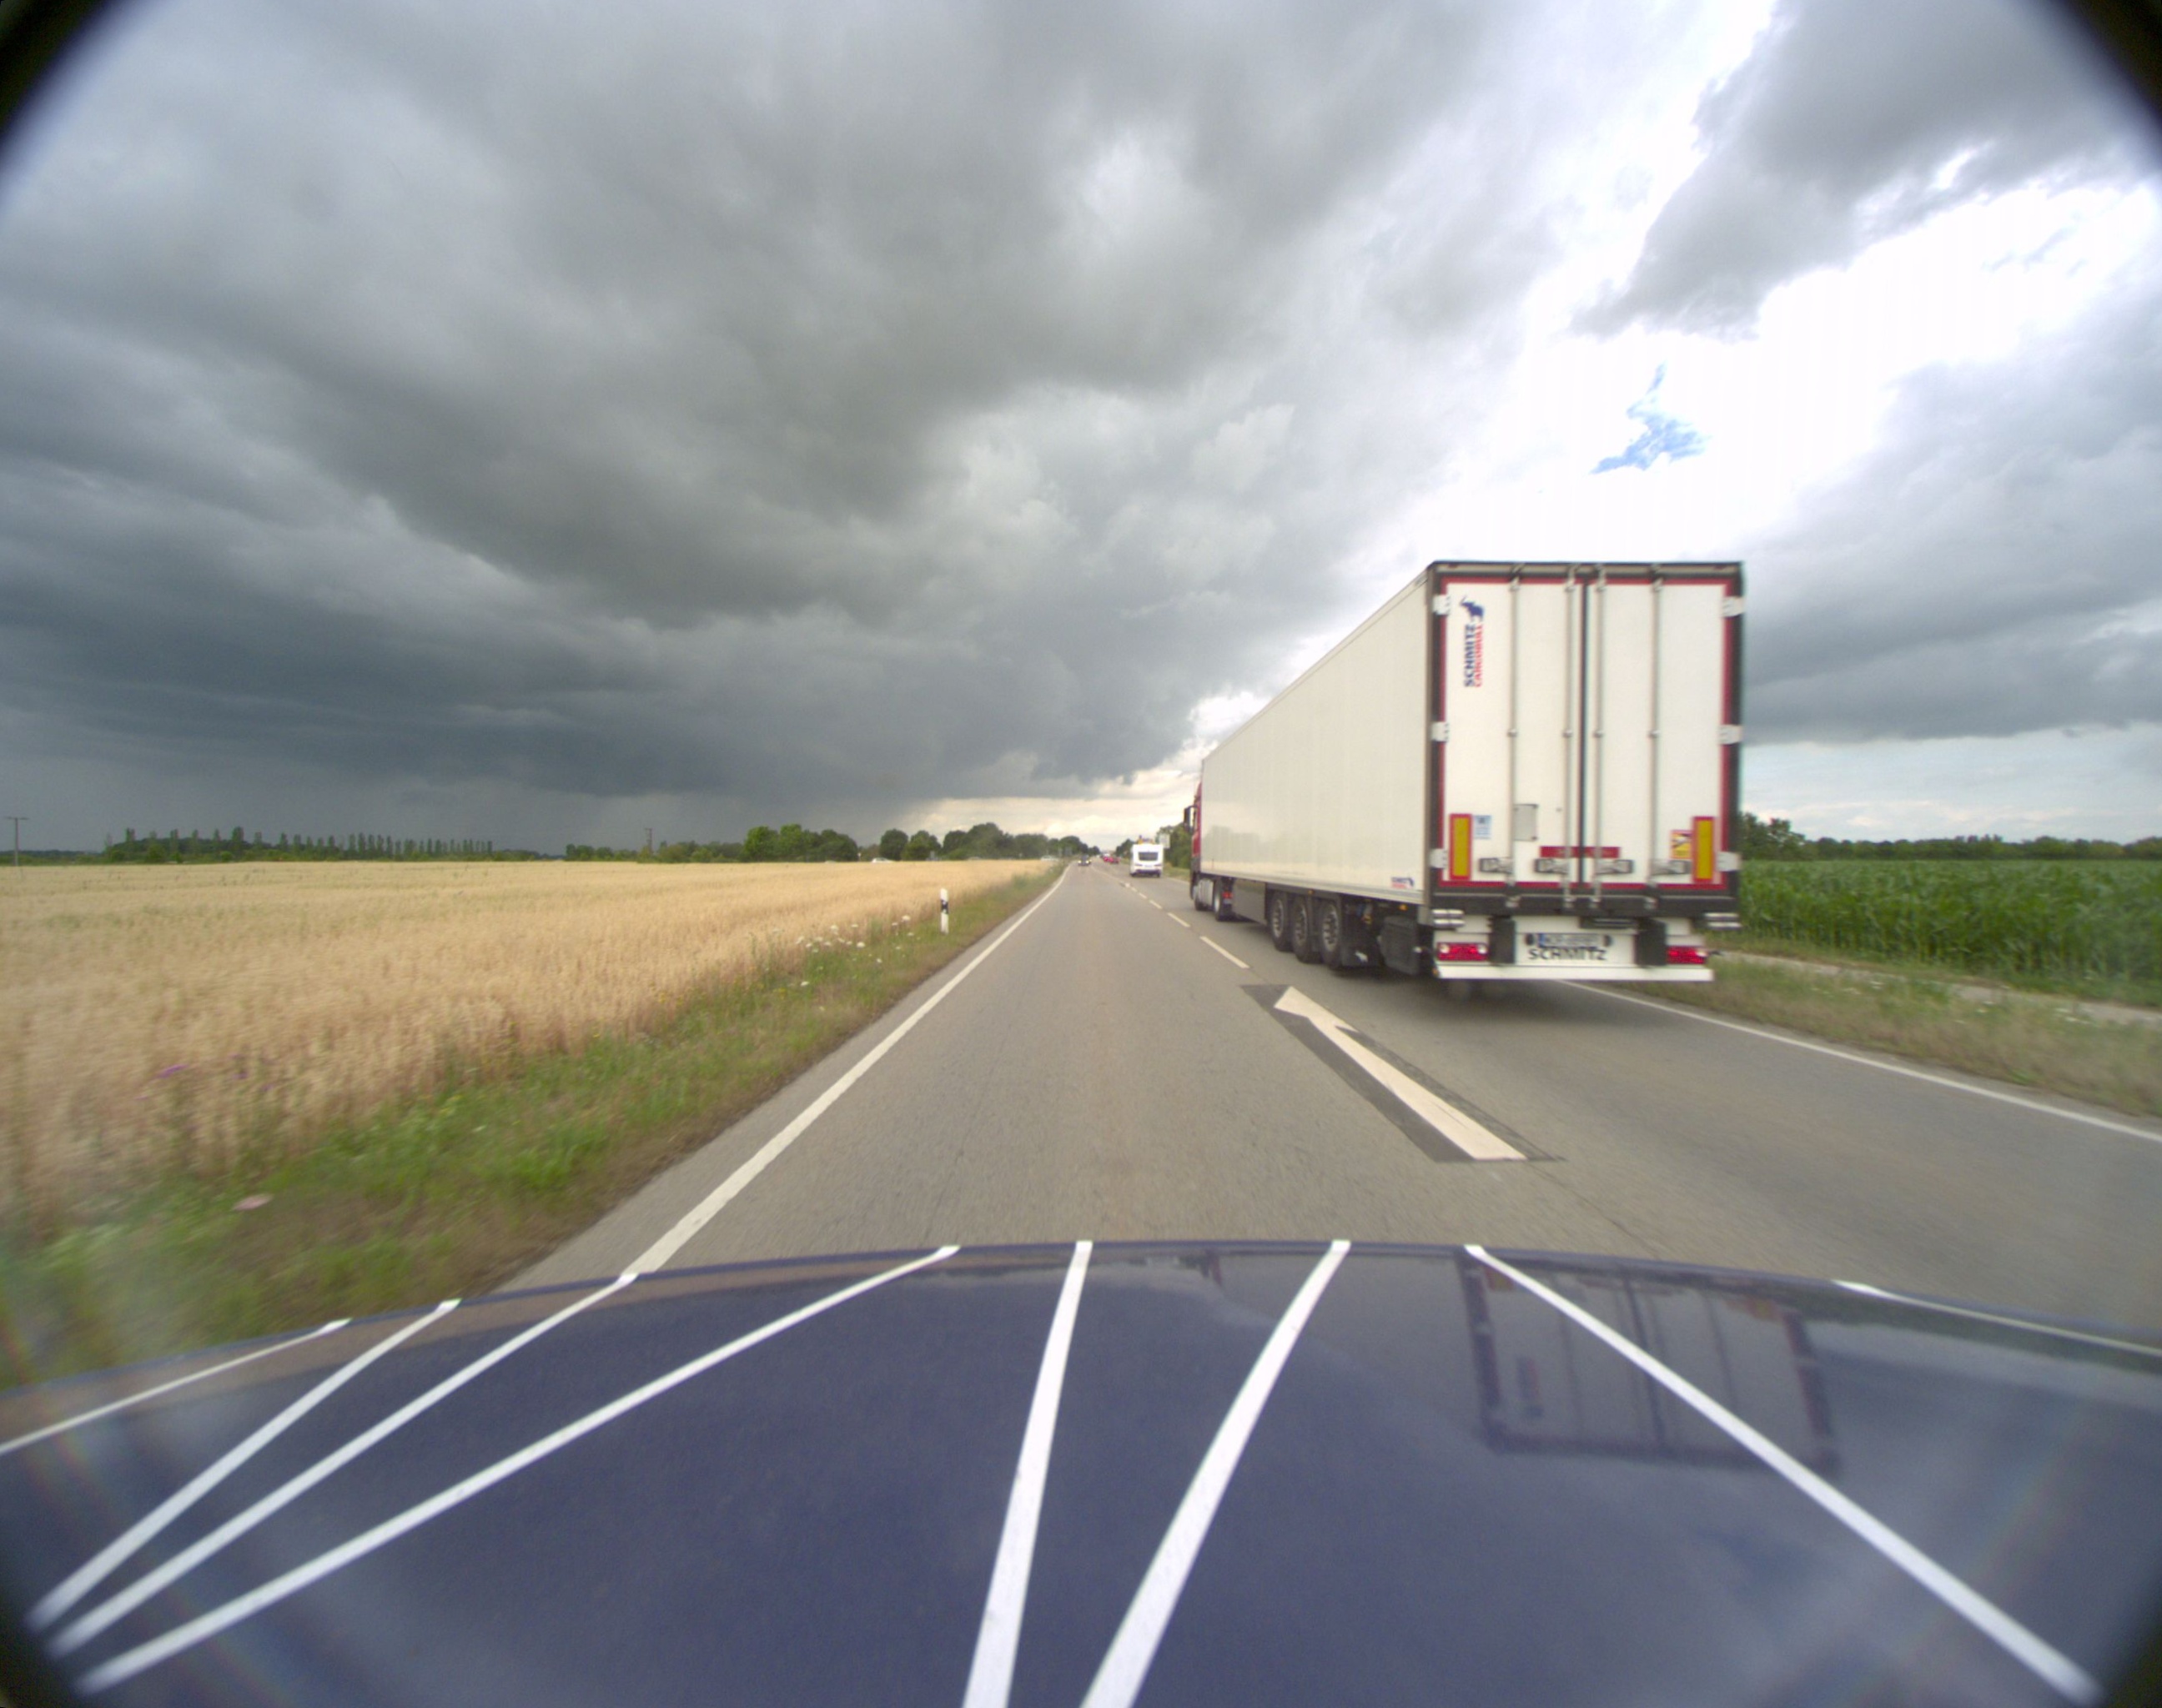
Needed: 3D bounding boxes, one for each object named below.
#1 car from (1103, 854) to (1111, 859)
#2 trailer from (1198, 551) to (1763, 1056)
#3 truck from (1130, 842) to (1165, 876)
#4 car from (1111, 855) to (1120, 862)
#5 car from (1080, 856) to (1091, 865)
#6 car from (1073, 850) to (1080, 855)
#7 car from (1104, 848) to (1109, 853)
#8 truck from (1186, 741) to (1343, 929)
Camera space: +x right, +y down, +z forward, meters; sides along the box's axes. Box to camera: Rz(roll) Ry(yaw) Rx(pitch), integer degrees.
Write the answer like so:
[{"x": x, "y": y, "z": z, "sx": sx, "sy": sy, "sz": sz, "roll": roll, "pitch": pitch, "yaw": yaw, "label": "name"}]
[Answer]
[{"x": 6.717, "y": 0.671, "z": 195.858, "sx": 1.869, "sy": 1.352, "sz": 3.826, "roll": 0, "pitch": 0, "yaw": 1, "label": "car"}, {"x": 4.291, "y": -0.450, "z": 13.066, "sx": 2.641, "sy": 4.097, "sz": 13.766, "roll": 0, "pitch": 0, "yaw": 1, "label": "trailer"}, {"x": 5.449, "y": 0.335, "z": 63.748, "sx": 2.419, "sy": 2.643, "sz": 11.431, "roll": 0, "pitch": 0, "yaw": 2, "label": "truck"}, {"x": 7.465, "y": 0.978, "z": 164.151, "sx": 1.869, "sy": 1.352, "sz": 3.826, "roll": 0, "pitch": 0, "yaw": 1, "label": "car"}, {"x": 0.772, "y": 1.084, "z": 128.758, "sx": 1.869, "sy": 1.352, "sz": 3.826, "roll": 0, "pitch": 0, "yaw": 0, "label": "car"}, {"x": -1.235, "y": -0.405, "z": 215.362, "sx": 1.714, "sy": 1.352, "sz": 3.826, "roll": 0, "pitch": 0, "yaw": 1, "label": "car"}, {"x": 8.760, "y": -1.289, "z": 259.038, "sx": 1.759, "sy": 1.690, "sz": 3.826, "roll": 0, "pitch": 1, "yaw": 1, "label": "car"}, {"x": 4.432, "y": -0.431, "z": 19.615, "sx": 2.658, "sy": 4.097, "sz": 6.023, "roll": 0, "pitch": 1, "yaw": 1, "label": "truck"}]
